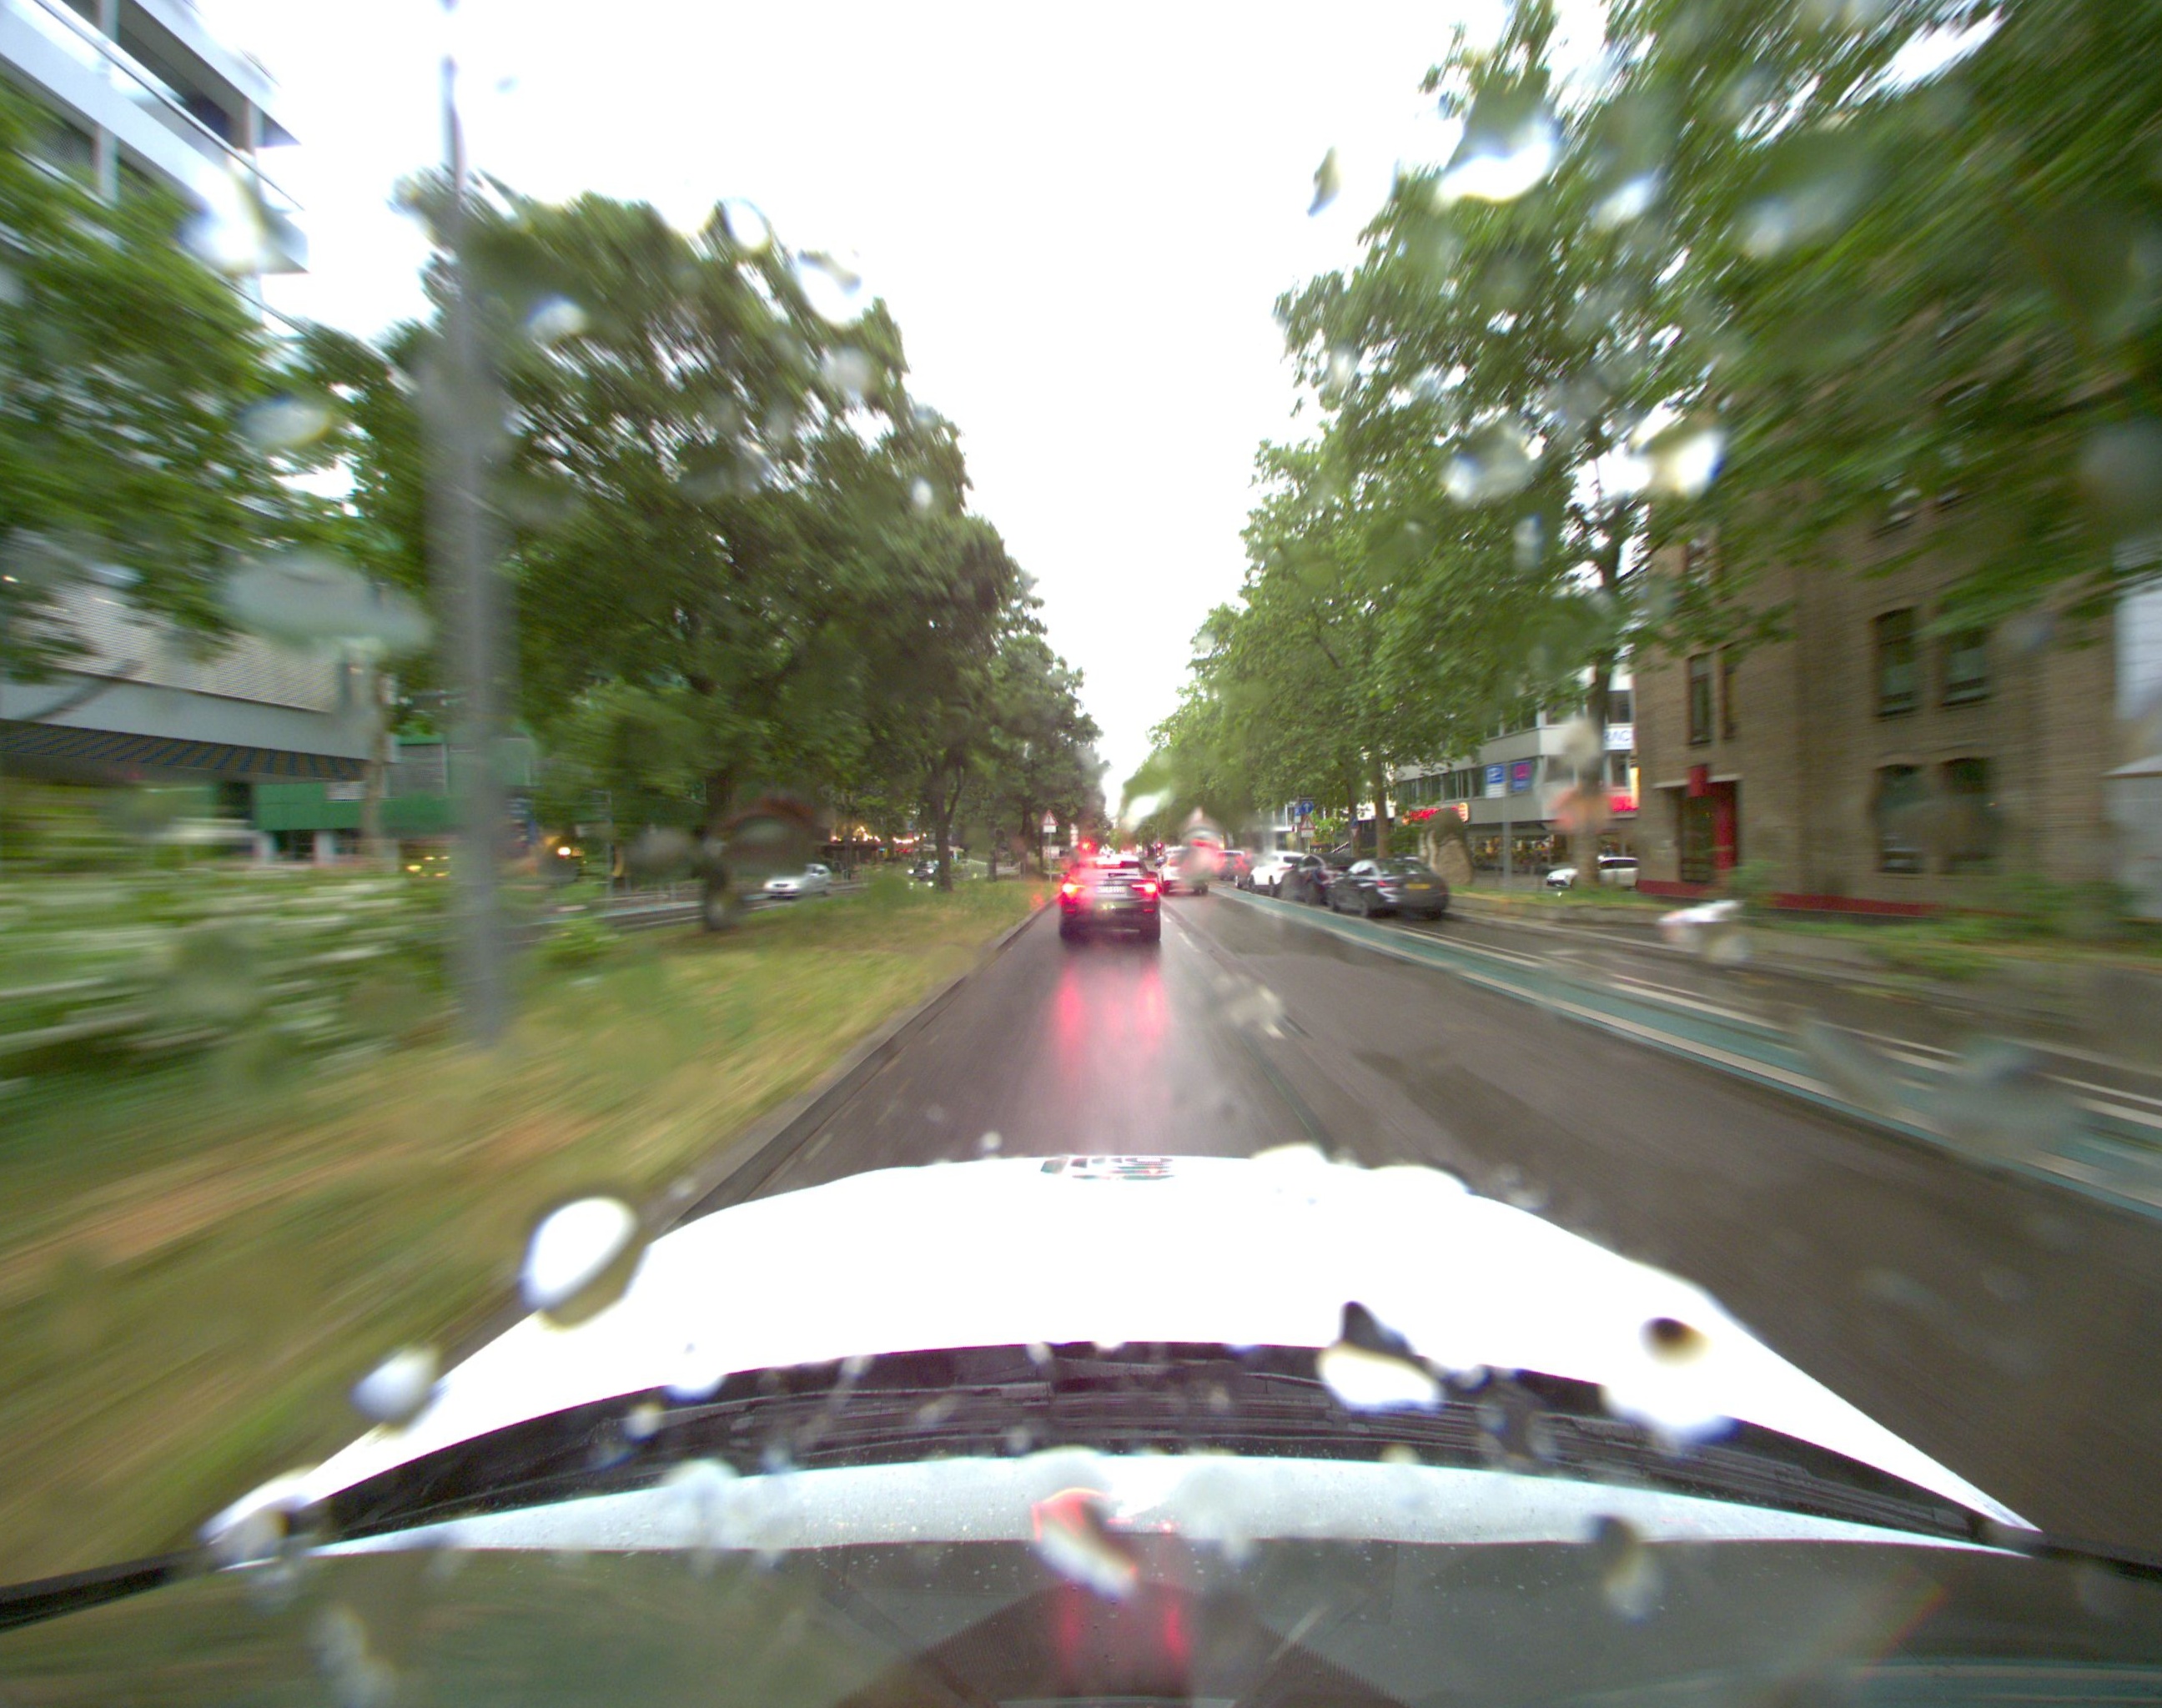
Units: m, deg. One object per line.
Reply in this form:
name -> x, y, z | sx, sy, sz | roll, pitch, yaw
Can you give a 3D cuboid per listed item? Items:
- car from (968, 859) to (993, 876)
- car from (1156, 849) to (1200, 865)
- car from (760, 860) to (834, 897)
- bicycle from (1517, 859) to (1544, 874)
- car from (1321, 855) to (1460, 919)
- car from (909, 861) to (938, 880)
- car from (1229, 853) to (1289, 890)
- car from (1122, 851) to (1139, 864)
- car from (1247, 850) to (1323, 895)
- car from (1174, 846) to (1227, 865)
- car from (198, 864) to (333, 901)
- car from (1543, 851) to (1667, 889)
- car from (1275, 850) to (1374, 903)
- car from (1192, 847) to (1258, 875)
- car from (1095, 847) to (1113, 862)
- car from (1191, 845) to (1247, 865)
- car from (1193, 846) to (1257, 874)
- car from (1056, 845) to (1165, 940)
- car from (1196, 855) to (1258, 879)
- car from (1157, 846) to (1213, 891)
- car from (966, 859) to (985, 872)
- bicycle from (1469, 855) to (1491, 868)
car -> -10.446, 1.379, 84.808 | 1.753, 1.703, 4.337 | 0, -1, 4
car -> 11.013, 0.330, 92.598 | 4.594, 1.706, 2.012 | 0, -1, 29
car -> -11.917, 1.004, 34.442 | 1.642, 1.435, 3.814 | -1, -1, 2
bicycle -> 25.020, 0.686, 45.344 | 0.446, 0.836, 2.027 | 0, -1, 2
car -> 7.597, 0.760, 20.516 | 1.866, 1.421, 4.612 | 0, 0, 1
car -> -11.184, 1.154, 58.058 | 1.687, 1.258, 3.636 | 1, -1, -7
car -> 7.842, 0.746, 36.145 | 1.691, 1.523, 4.021 | 1, -1, -1
car -> 6.230, 0.428, 103.182 | 1.986, 1.651, 4.001 | 0, -1, 2
car -> 7.657, 0.686, 30.943 | 1.723, 1.571, 4.069 | 1, -1, -3
car -> 11.503, 0.142, 78.548 | 4.594, 1.706, 2.012 | 0, -1, 29
car -> -31.869, 1.096, 31.896 | 3.489, 1.378, 1.683 | 0, -1, -1
car -> 22.858, 0.696, 35.717 | 4.211, 1.567, 2.065 | 0, -1, 18
car -> 7.726, 0.693, 26.307 | 1.861, 1.520, 4.558 | 0, -1, 0
car -> 10.820, 0.512, 61.443 | 4.548, 2.014, 1.980 | 0, -1, 39
car -> 2.672, 0.069, 94.871 | 1.986, 1.726, 4.000 | 0, -1, 1
car -> 12.641, 0.100, 74.498 | 4.594, 1.706, 2.012 | 0, -1, 29
car -> 11.969, 0.469, 67.641 | 4.834, 2.254, 2.012 | 0, -1, 30
car -> 0.527, 0.658, 15.855 | 1.843, 1.602, 4.000 | 0, 0, 0
car -> 8.838, 0.767, 49.571 | 1.568, 1.378, 3.831 | 1, -1, -31
car -> 4.184, 0.582, 33.342 | 1.871, 1.697, 4.001 | 0, -1, 1
car -> -13.065, 1.413, 100.974 | 1.719, 1.518, 4.002 | 0, -1, 2
bicycle -> 24.991, 0.481, 50.996 | 0.446, 0.836, 2.027 | 0, -1, 2
